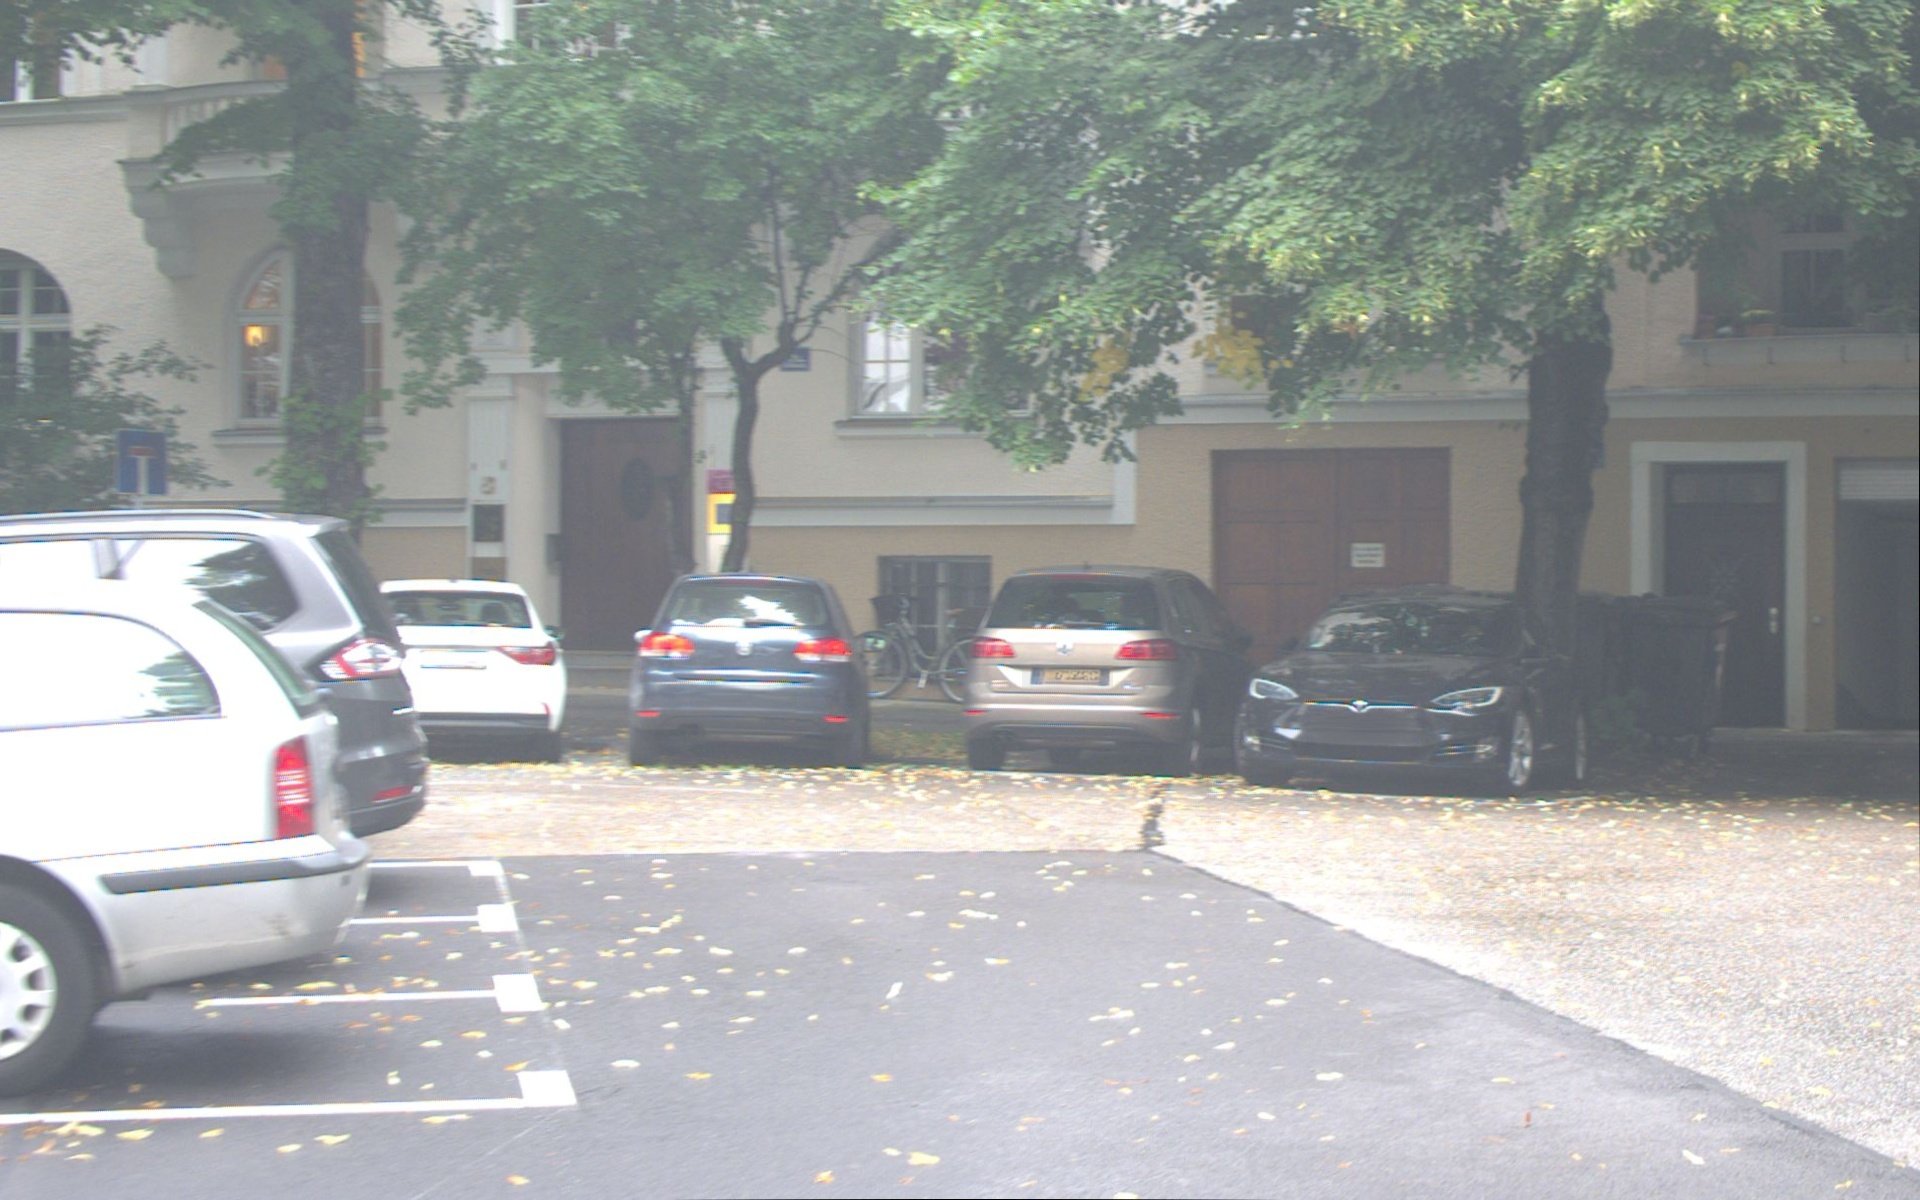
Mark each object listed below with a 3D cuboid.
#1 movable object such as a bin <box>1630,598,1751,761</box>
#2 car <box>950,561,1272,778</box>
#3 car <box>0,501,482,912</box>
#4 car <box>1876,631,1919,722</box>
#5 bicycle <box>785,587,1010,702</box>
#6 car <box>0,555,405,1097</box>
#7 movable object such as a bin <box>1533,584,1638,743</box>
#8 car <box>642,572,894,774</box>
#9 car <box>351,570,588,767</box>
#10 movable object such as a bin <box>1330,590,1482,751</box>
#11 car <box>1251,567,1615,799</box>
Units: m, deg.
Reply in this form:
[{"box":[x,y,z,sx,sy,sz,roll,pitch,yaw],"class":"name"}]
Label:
[{"box":[6.227,0.656,29.271,0.863,1.301,1.431,3,1,15],"class":"movable object such as a bin"},{"box":[1.259,0.494,26.796,1.839,1.525,4.023,1,0,12],"class":"car"},{"box":[-4.344,0.462,15.312,4.218,1.678,1.903,-2,1,-12],"class":"car"},{"box":[17.887,1.352,59.449,3.847,1.513,1.655,1,0,13],"class":"car"},{"box":[-0.648,0.446,35.344,2.231,1.111,0.576,1,0,18],"class":"bicycle"},{"box":[-3.816,0.666,10.072,4.226,1.450,1.722,-2,1,-11],"class":"car"},{"box":[5.453,0.535,29.915,0.713,1.343,1.372,1,0,17],"class":"movable object such as a bin"},{"box":[-1.509,0.515,26.882,1.791,1.426,4.001,1,0,-3],"class":"car"},{"box":[-3.927,0.497,27.564,1.718,1.426,4.001,1,0,-8],"class":"car"},{"box":[3.924,0.603,30.182,1.150,1.344,1.156,2,1,15],"class":"movable object such as a bin"},{"box":[3.505,0.618,24.818,1.706,1.462,4.284,2,-1,20],"class":"car"}]
